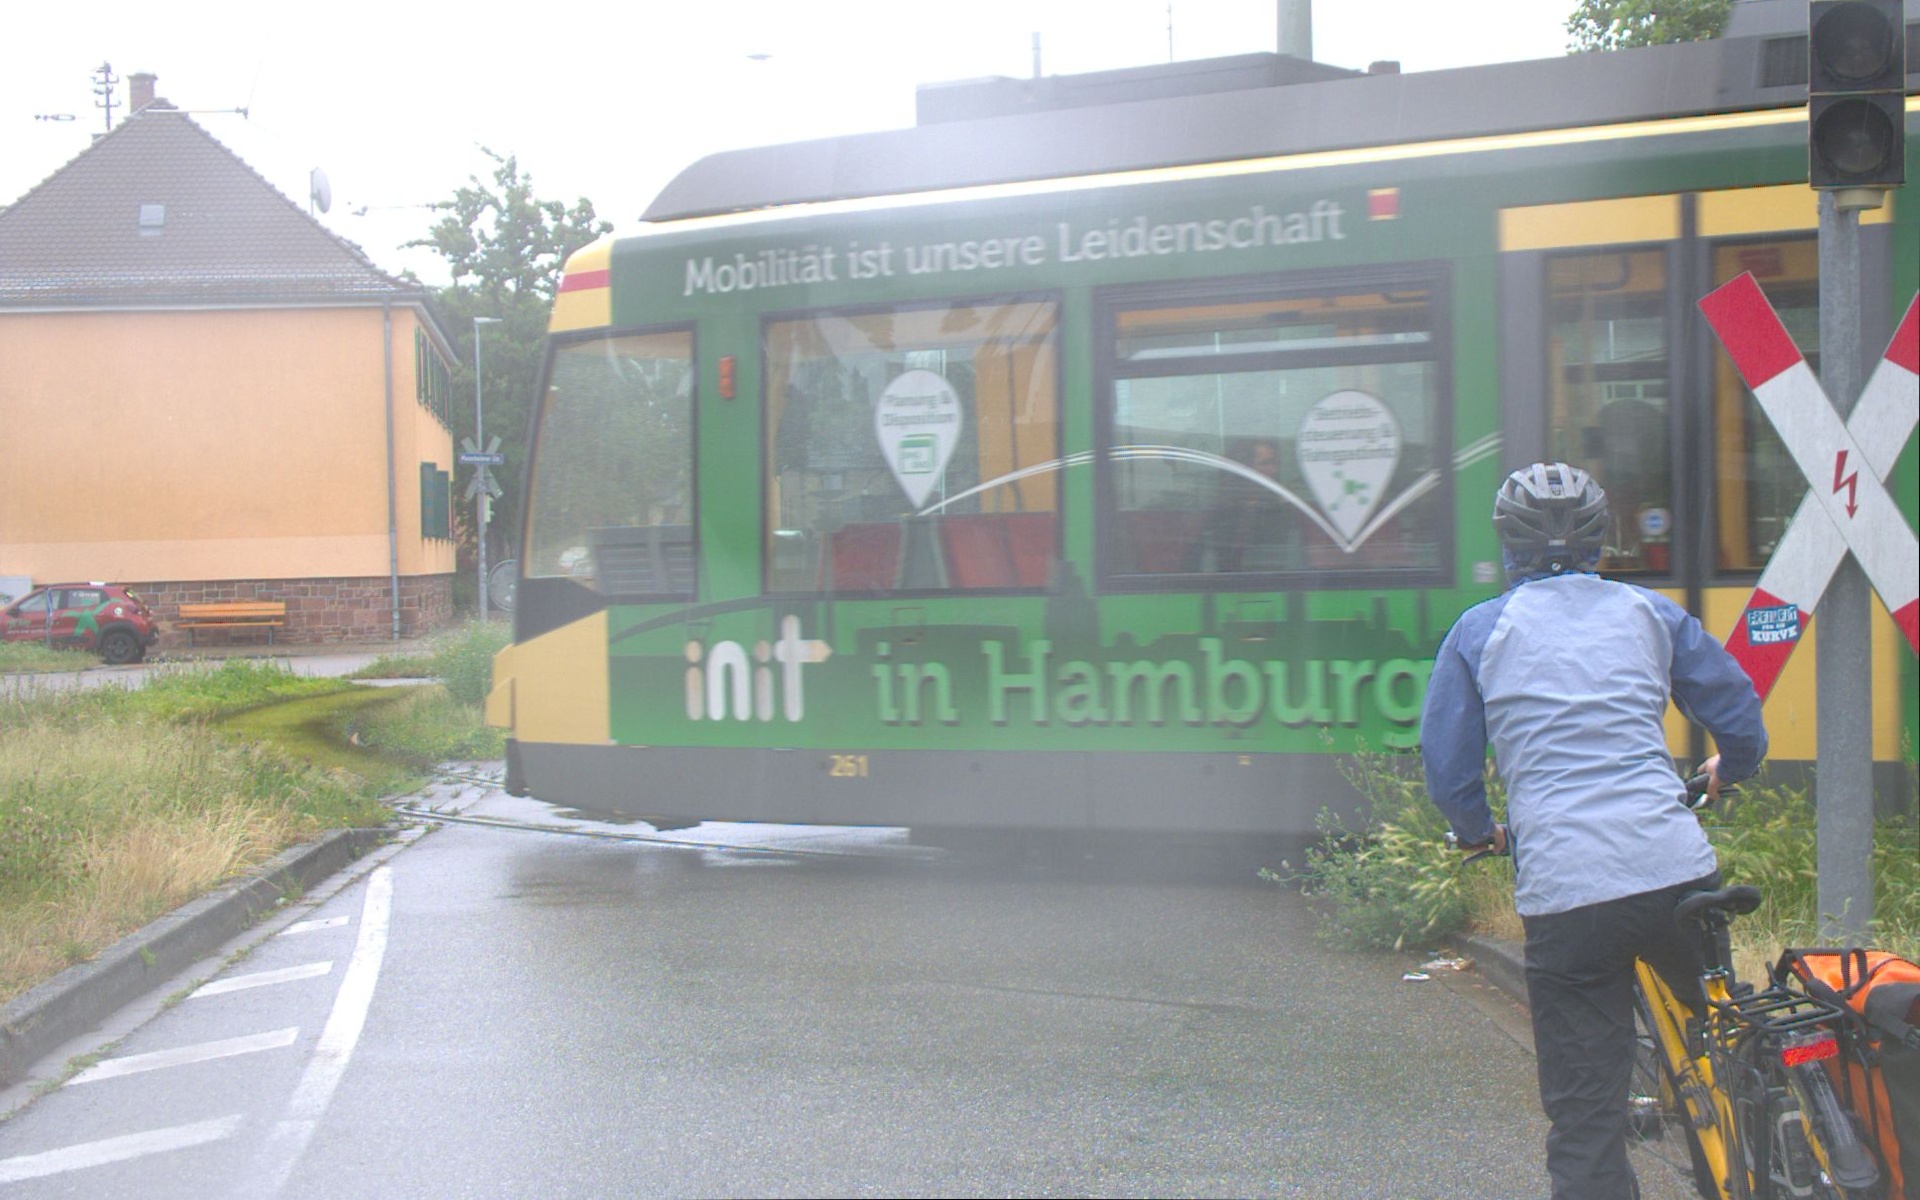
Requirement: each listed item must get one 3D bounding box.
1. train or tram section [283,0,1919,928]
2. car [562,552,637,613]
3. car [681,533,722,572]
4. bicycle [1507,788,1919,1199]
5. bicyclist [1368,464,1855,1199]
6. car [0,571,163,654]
[{"bbox_3d":[2.961,-0.623,14.030,13.115,3.541,2.764,-1,1,35],"label":"train or tram section"},{"bbox_3d":[-10.020,-0.501,95.717,1.804,1.645,4.000,1,0,-3],"label":"car"},{"bbox_3d":[-12.362,-2.259,164.647,1.804,1.805,4.000,1,0,-3],"label":"car"},{"bbox_3d":[1.355,0.903,6.079,0.446,1.001,1.728,-1,1,-2],"label":"bicycle"},{"bbox_3d":[1.130,0.586,6.130,0.667,1.620,0.853,1,0,-2],"label":"bicyclist"},{"bbox_3d":[-16.657,0.207,62.605,3.986,1.451,1.834,1,0,-6],"label":"car"}]
